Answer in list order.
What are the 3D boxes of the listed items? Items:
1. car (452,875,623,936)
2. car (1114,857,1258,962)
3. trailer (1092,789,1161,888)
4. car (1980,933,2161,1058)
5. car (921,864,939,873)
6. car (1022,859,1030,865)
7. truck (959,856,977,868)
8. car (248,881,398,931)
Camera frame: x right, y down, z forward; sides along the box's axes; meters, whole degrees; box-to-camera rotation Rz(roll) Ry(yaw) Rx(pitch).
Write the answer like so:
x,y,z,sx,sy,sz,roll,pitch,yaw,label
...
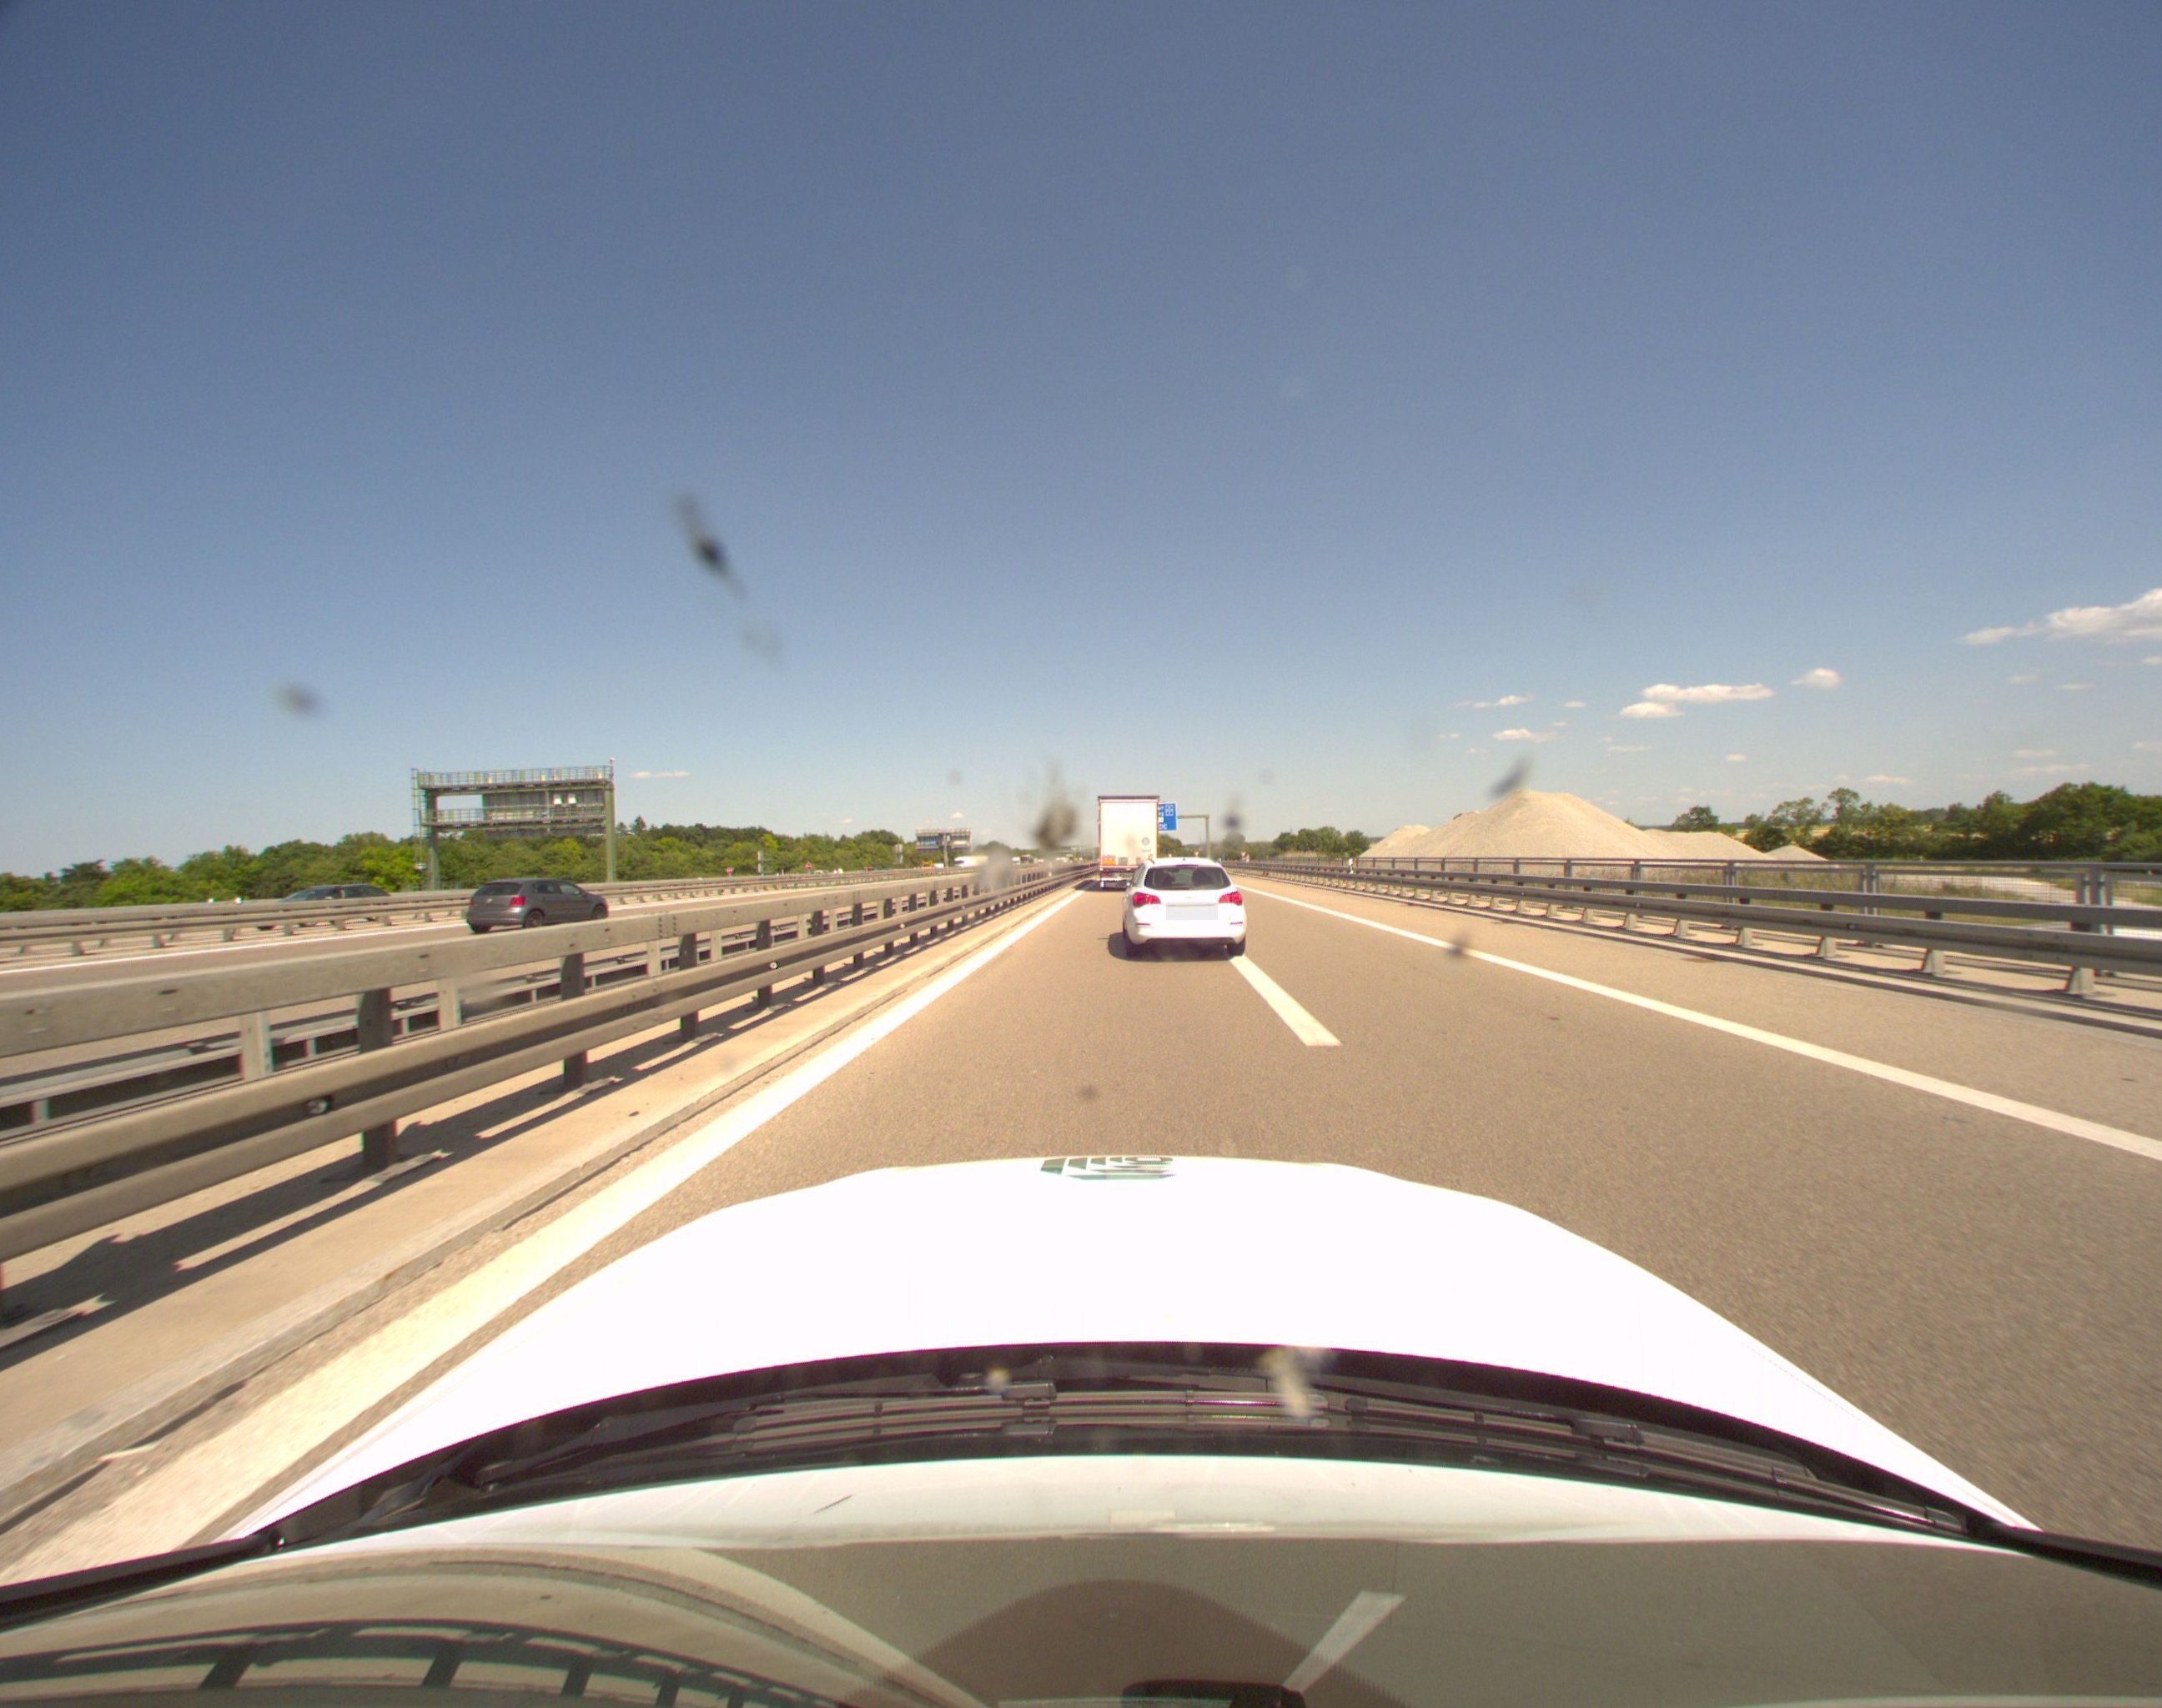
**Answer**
x,y,z,sx,sy,sz,roll,pitch,yaw,label
-15.000,1.361,22.798,1.755,1.422,4.220,-1,0,4,car
1.554,0.781,13.509,1.848,1.443,4.372,-1,0,0,car
2.289,-0.561,39.956,2.900,4.145,11.268,0,-1,4,trailer
36.206,4.994,29.433,5.137,3.964,2.477,0,-1,-7,car
-26.645,2.527,144.106,1.830,1.517,5.303,-2,0,4,car
-15.545,2.382,231.029,1.781,1.640,4.003,-2,0,3,car
-31.161,2.188,224.922,1.974,3.300,5.420,-2,0,29,truck
-28.214,1.872,30.508,1.772,1.596,4.002,-1,0,2,car
